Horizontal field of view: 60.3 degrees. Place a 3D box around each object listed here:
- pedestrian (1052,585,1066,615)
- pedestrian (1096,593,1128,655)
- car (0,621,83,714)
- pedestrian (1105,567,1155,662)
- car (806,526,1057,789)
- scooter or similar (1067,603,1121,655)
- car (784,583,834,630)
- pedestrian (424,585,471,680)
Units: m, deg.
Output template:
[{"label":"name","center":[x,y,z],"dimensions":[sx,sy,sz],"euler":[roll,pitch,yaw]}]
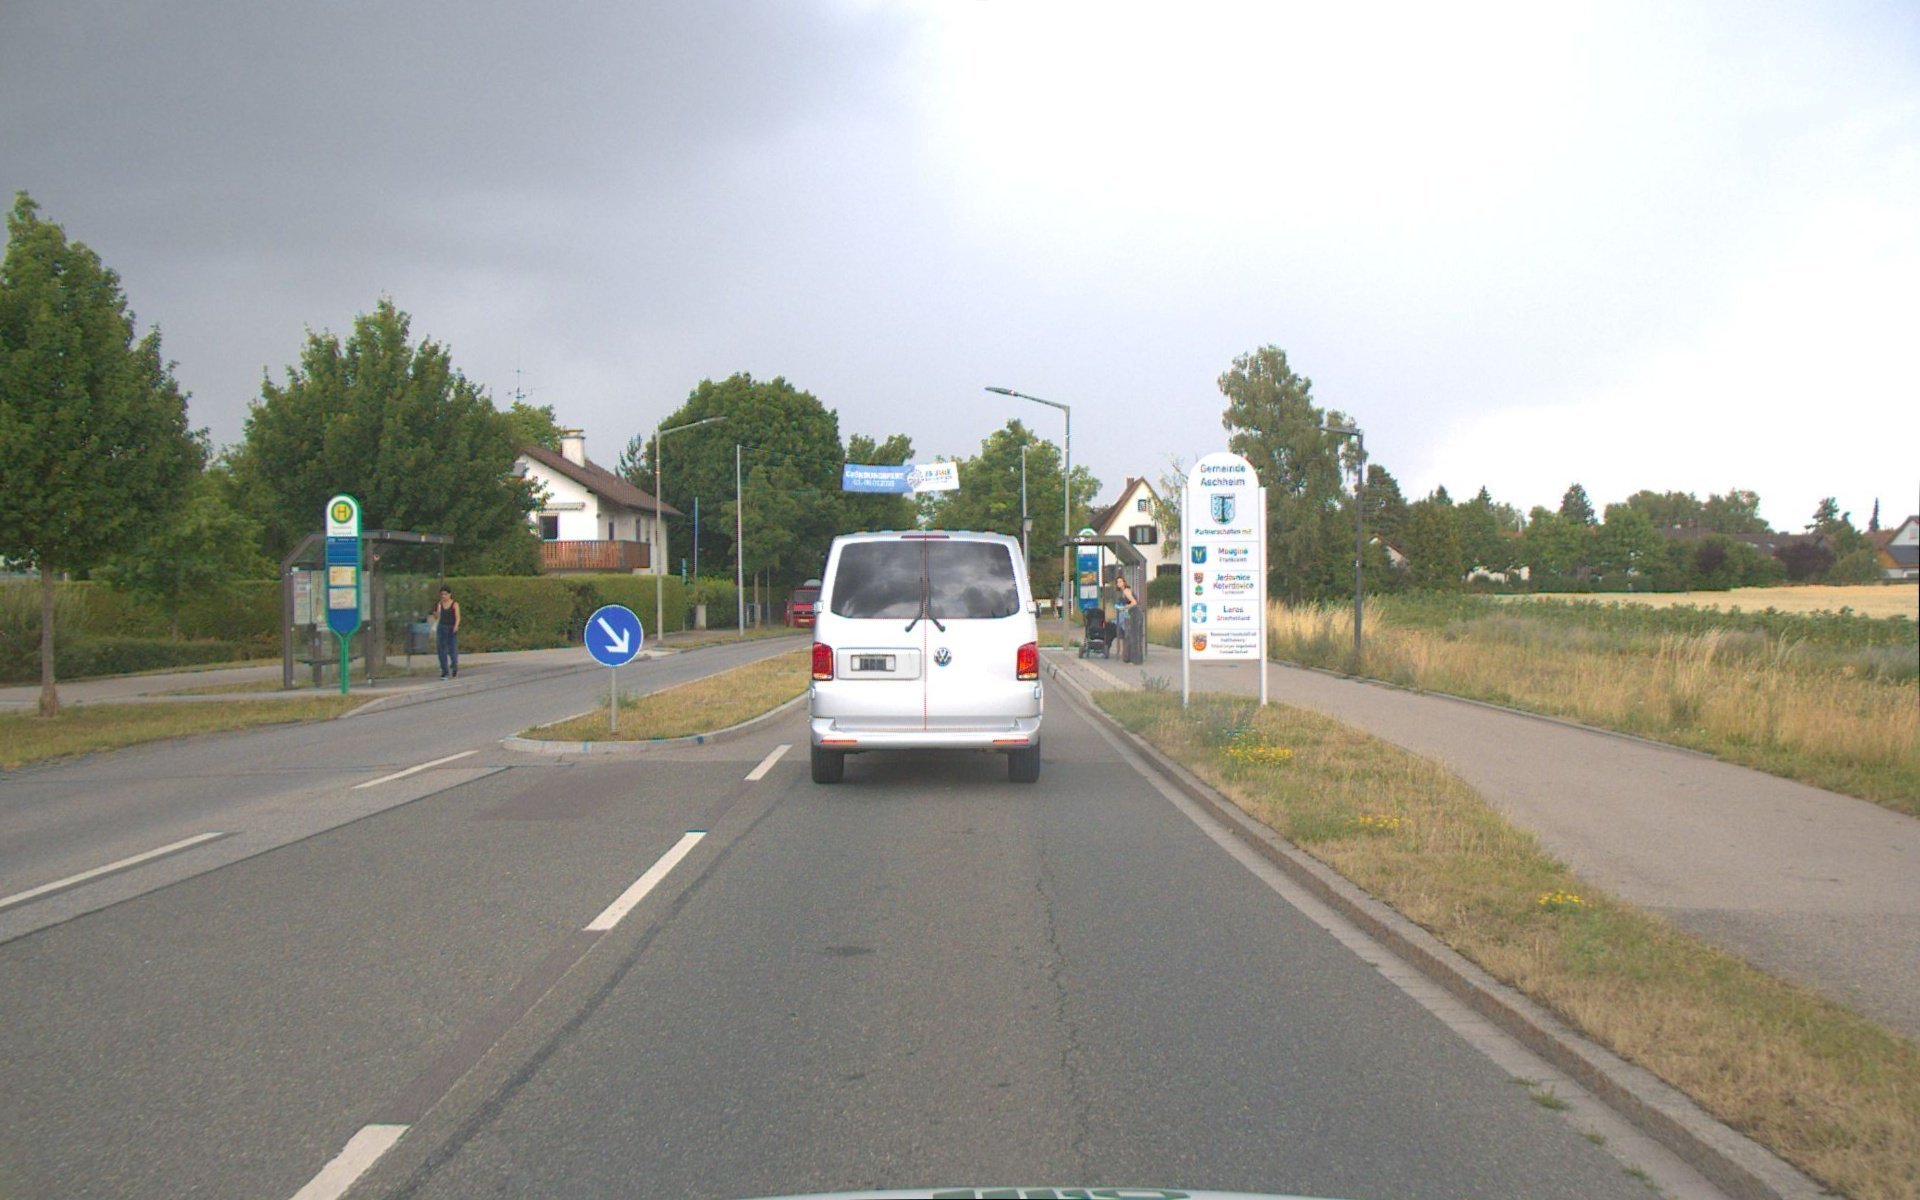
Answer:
[{"label":"pedestrian","center":[5.935,0.024,99.015],"dimensions":[0.820,1.785,0.870],"euler":[0,0,4]},{"label":"pedestrian","center":[3.317,0.530,36.028],"dimensions":[0.650,1.325,0.505],"euler":[1,0,9]},{"label":"car","center":[-22.749,1.554,38.199],"dimensions":[3.907,2.049,1.999],"euler":[-1,0,-3]},{"label":"pedestrian","center":[3.330,0.283,32.282],"dimensions":[0.765,1.824,0.779],"euler":[1,0,21]},{"label":"car","center":[-0.238,0.433,14.241],"dimensions":[1.849,1.945,3.999],"euler":[0,0,-1]},{"label":"scooter or similar","center":[2.873,0.622,35.394],"dimensions":[0.695,1.080,1.056],"euler":[1,-1,36]},{"label":"car","center":[-7.061,0.281,77.693],"dimensions":[1.792,2.066,5.046],"euler":[1,0,0]},{"label":"pedestrian","center":[-9.105,0.569,29.400],"dimensions":[0.576,1.665,0.813],"euler":[-1,0,-1]}]
